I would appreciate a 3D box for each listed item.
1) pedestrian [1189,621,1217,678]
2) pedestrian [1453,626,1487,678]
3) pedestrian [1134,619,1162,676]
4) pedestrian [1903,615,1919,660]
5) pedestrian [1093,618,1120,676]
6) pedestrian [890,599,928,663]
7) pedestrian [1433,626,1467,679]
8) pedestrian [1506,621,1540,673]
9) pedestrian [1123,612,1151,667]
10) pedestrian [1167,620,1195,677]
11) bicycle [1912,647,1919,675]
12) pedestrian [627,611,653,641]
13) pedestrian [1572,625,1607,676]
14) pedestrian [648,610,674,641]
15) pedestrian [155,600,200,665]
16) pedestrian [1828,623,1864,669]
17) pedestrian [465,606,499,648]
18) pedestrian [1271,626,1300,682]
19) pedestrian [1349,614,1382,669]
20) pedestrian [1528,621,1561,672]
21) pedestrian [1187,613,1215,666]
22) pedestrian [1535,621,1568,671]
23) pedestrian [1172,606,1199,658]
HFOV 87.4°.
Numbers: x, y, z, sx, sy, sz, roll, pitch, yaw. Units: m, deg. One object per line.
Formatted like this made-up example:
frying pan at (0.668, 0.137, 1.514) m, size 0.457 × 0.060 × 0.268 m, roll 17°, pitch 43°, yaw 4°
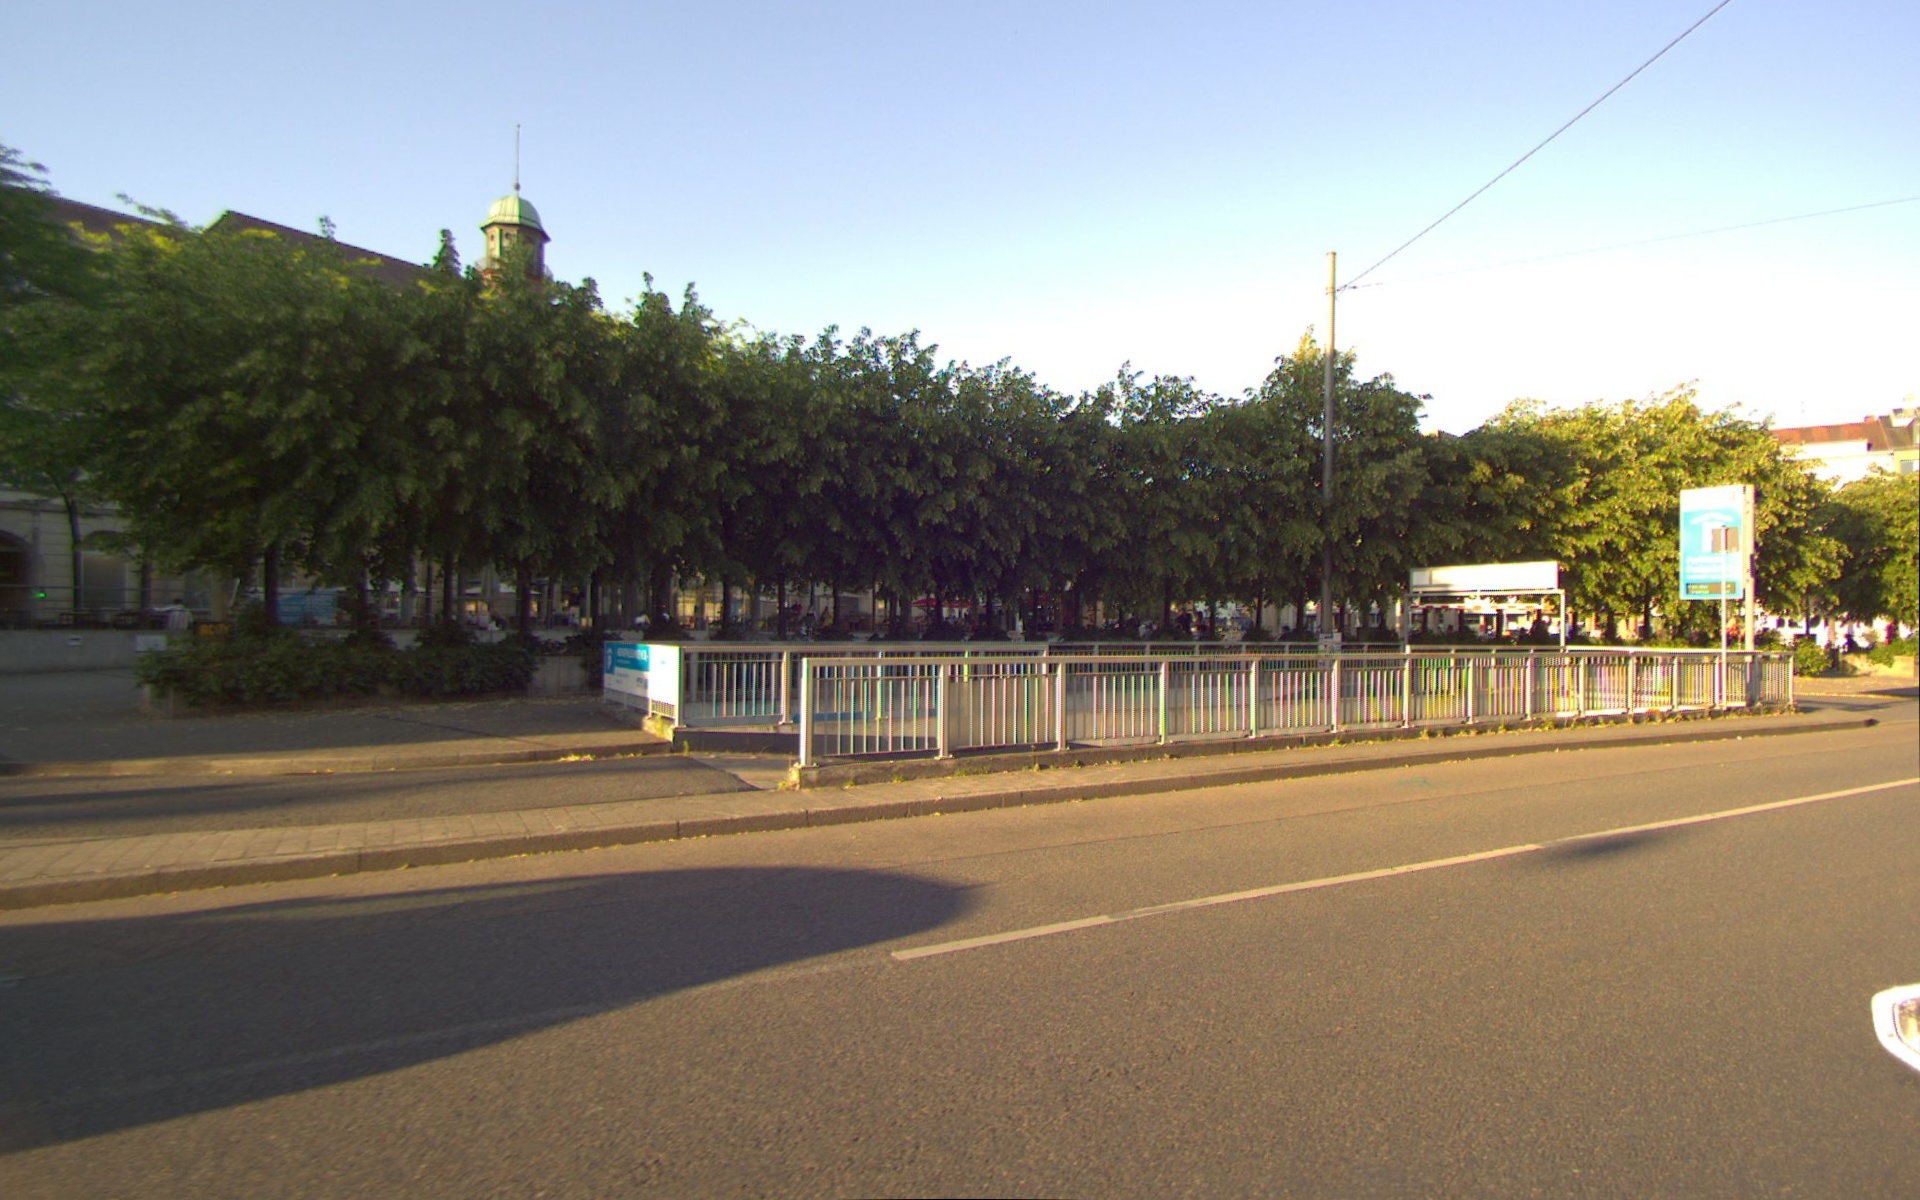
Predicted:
pedestrian at (7.041, 1.418, 29.106) m, size 0.558 × 1.616 × 0.678 m, roll 1°, pitch 0°, yaw -10°
pedestrian at (15.968, 1.623, 31.475) m, size 0.665 × 1.616 × 0.678 m, roll 1°, pitch 0°, yaw -10°
pedestrian at (5.414, 1.368, 28.934) m, size 0.558 × 1.616 × 0.678 m, roll 1°, pitch 0°, yaw -10°
pedestrian at (34.262, 1.342, 35.870) m, size 0.478 × 1.616 × 0.684 m, roll 1°, pitch 0°, yaw -10°
pedestrian at (4.157, 1.334, 28.462) m, size 0.558 × 1.616 × 0.678 m, roll 1°, pitch 0°, yaw -10°
pedestrian at (-1.308, 0.777, 25.734) m, size 0.693 × 1.616 × 0.673 m, roll 0°, pitch 0°, yaw 43°
pedestrian at (15.301, 1.620, 31.356) m, size 0.665 × 1.616 × 0.678 m, roll 1°, pitch 0°, yaw -10°
pedestrian at (17.897, 1.476, 31.915) m, size 0.558 × 1.616 × 0.791 m, roll 1°, pitch 0°, yaw -10°
pedestrian at (5.253, 1.158, 29.800) m, size 0.558 × 1.616 × 0.791 m, roll 1°, pitch 0°, yaw -10°
pedestrian at (6.376, 1.398, 29.037) m, size 0.558 × 1.616 × 0.678 m, roll 1°, pitch 0°, yaw -10°
bicycle at (30.778, 1.955, 31.088) m, size 0.478 × 0.864 × 1.815 m, roll 1°, pitch 2°, yaw -32°
pedestrian at (-11.667, 0.955, 36.632) m, size 0.703 × 1.073 × 0.609 m, roll 0°, pitch -1°, yaw 36°
pedestrian at (20.343, 1.634, 32.475) m, size 0.558 × 1.616 × 0.791 m, roll 1°, pitch 0°, yaw -10°
pedestrian at (-11.125, 0.929, 37.392) m, size 0.703 × 1.134 × 0.609 m, roll 0°, pitch -1°, yaw 36°
pedestrian at (-19.856, 0.820, 25.492) m, size 0.778 × 1.607 × 0.652 m, roll 0°, pitch -3°, yaw 36°
pedestrian at (31.790, 1.632, 36.048) m, size 0.558 × 1.616 × 0.791 m, roll 1°, pitch 0°, yaw -10°
pedestrian at (-15.309, 0.862, 32.168) m, size 0.778 × 1.296 × 0.652 m, roll 0°, pitch -3°, yaw 36°
pedestrian at (9.630, 1.597, 29.752) m, size 0.558 × 1.616 × 0.678 m, roll 1°, pitch 0°, yaw -10°
pedestrian at (12.242, 1.245, 30.334) m, size 0.665 × 1.616 × 0.678 m, roll 1°, pitch 0°, yaw -10°
pedestrian at (18.899, 1.487, 32.490) m, size 0.558 × 1.616 × 0.791 m, roll 1°, pitch 0°, yaw -10°
pedestrian at (7.424, 1.211, 30.907) m, size 0.558 × 1.616 × 0.791 m, roll 1°, pitch 0°, yaw -10°
pedestrian at (19.530, 1.509, 33.166) m, size 0.558 × 1.616 × 0.791 m, roll 1°, pitch 0°, yaw -10°
pedestrian at (7.115, 1.015, 31.769) m, size 0.558 × 1.616 × 0.791 m, roll 1°, pitch 0°, yaw -10°
